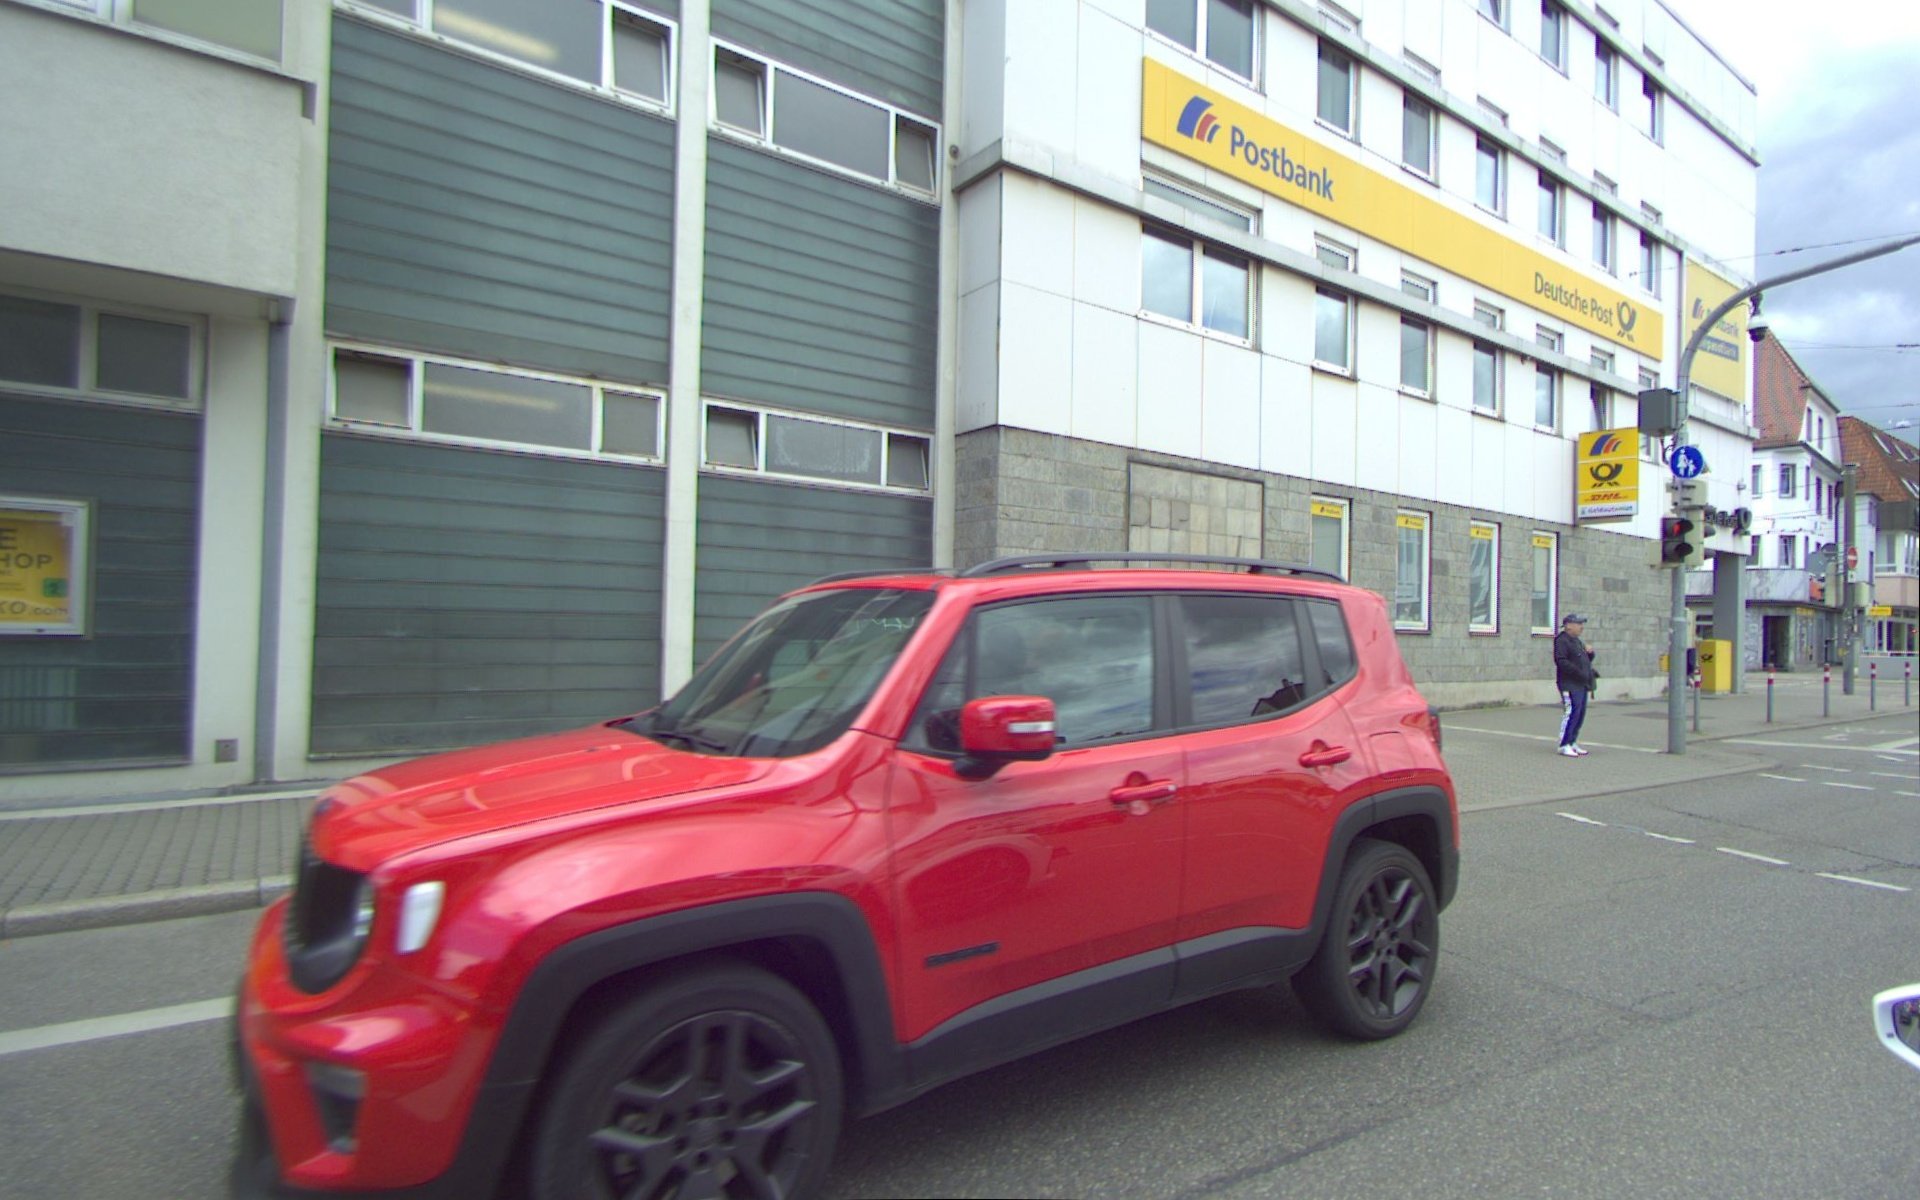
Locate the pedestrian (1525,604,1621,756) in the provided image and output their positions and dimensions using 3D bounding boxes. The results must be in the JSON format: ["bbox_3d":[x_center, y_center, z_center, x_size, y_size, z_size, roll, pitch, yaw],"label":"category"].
[{"bbox_3d":[7.342,0.930,12.043,0.773,1.741,0.645,1,0,-28],"label":"pedestrian"}]

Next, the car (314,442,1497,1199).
[{"bbox_3d":[0.030,0.654,3.584,3.858,1.717,1.788,2,-2,-35],"label":"car"}]

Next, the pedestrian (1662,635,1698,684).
[{"bbox_3d":[21.504,1.775,30.020,0.739,1.433,0.502,1,-1,-10],"label":"pedestrian"}]

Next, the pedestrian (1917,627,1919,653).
[{"bbox_3d":[61.386,2.535,64.015,0.571,1.627,0.641,0,-2,42],"label":"pedestrian"}]
